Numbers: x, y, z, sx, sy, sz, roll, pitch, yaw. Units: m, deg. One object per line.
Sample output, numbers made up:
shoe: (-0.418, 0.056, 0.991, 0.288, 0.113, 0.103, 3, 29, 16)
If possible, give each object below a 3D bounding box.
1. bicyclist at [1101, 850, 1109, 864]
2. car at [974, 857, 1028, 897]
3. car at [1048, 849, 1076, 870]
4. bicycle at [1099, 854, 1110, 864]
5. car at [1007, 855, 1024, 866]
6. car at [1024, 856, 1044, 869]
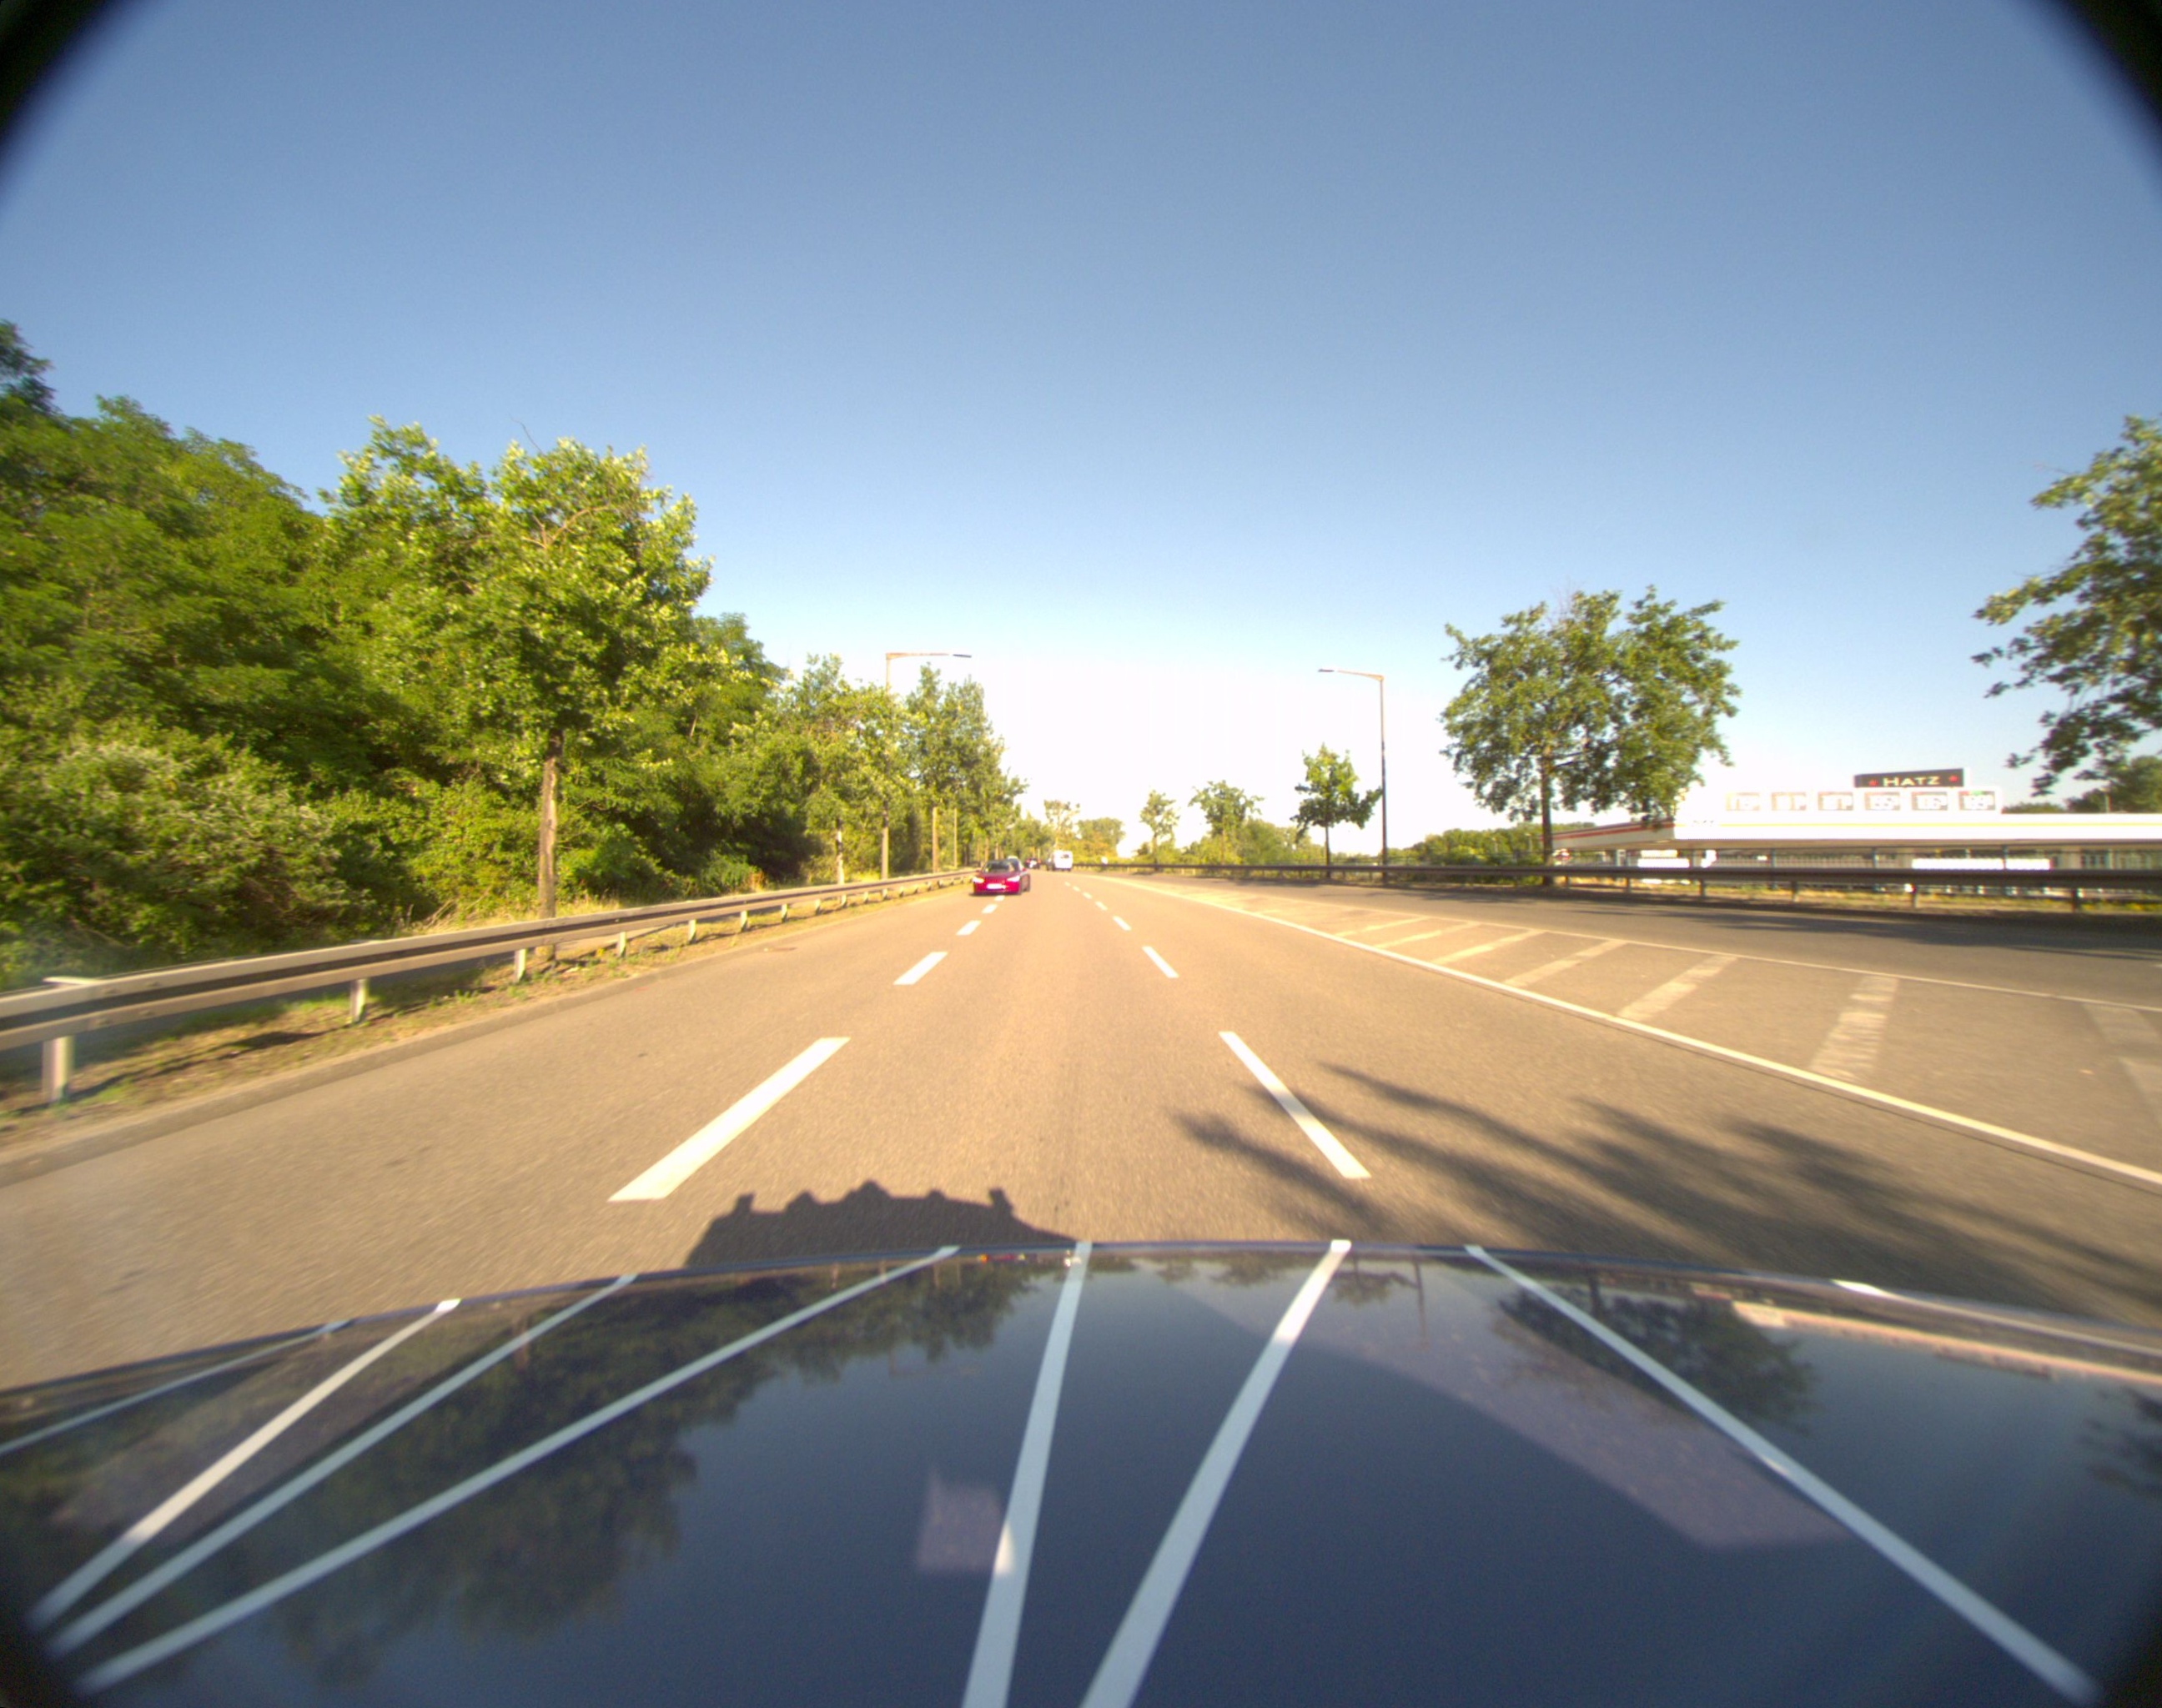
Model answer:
bicyclist: (2.574, 0.339, 80.719, 0.601, 1.450, 0.827, 2, 1, -12)
car: (-3.183, 0.890, 30.930, 1.782, 1.434, 4.359, -1, 0, -1)
car: (-1.977, 0.480, 76.638, 1.884, 2.002, 5.254, -2, 1, -11)
bicycle: (2.500, 0.505, 81.041, 0.584, 1.070, 2.310, 2, 0, -12)
car: (-9.693, 0.946, 111.695, 1.835, 1.580, 4.642, 0, 0, -13)
car: (-5.774, 1.009, 92.743, 1.779, 1.457, 4.378, -1, 0, -14)
